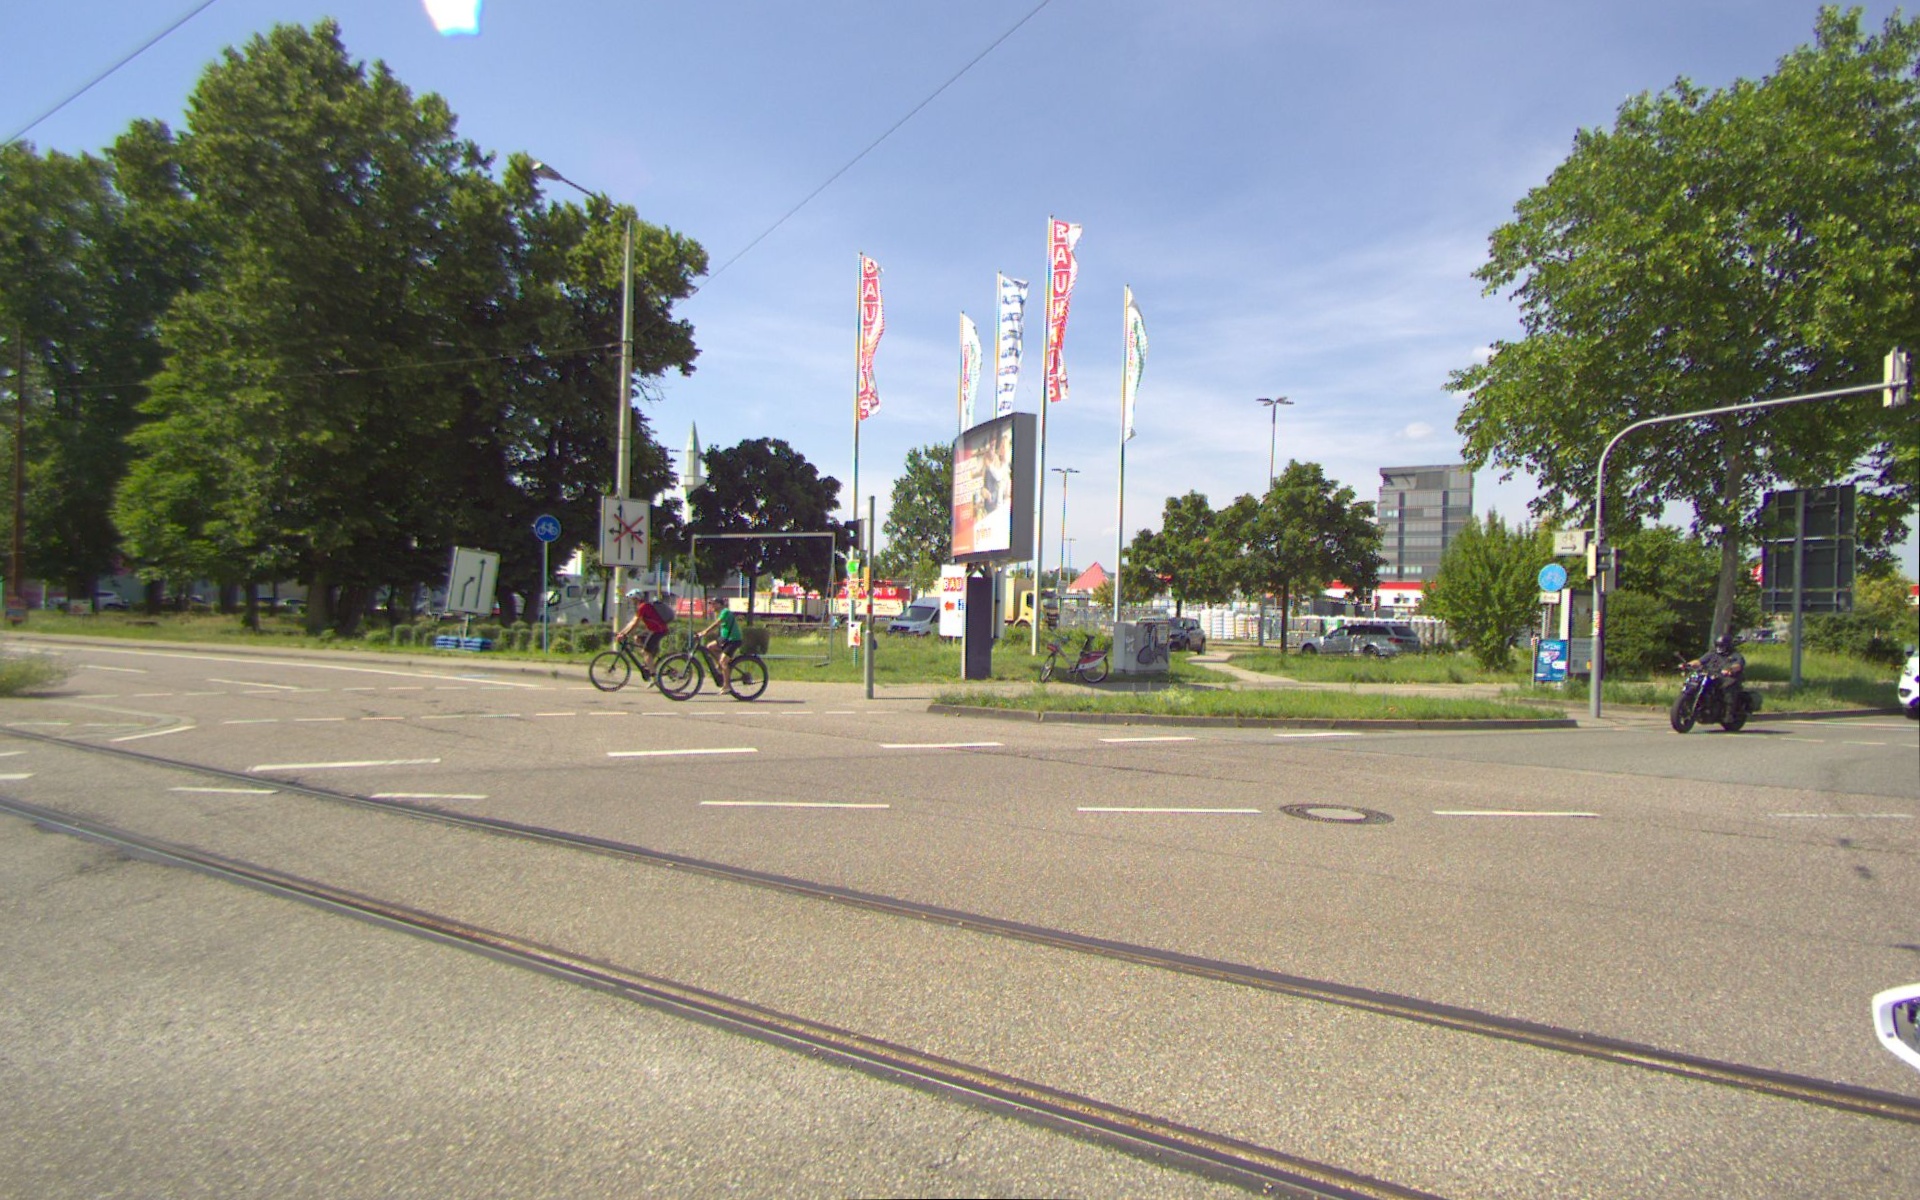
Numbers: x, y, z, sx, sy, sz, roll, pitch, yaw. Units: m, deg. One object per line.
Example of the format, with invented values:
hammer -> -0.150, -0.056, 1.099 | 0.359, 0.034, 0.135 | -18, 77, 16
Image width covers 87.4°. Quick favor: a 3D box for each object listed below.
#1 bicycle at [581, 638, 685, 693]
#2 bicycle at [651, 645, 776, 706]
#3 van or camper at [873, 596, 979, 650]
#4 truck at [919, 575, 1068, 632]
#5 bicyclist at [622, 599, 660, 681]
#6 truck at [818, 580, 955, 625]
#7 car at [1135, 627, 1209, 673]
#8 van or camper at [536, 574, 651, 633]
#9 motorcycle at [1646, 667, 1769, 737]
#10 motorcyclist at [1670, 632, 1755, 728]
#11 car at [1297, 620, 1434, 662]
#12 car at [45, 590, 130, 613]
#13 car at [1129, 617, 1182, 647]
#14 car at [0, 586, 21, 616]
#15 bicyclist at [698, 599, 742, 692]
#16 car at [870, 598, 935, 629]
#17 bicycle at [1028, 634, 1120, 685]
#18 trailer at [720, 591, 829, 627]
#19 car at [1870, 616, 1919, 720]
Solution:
bicycle -> -5.786, 1.159, 17.846 | 1.723, 0.950, 0.433 | 1, 0, -17
bicycle -> -4.080, 1.237, 16.687 | 1.970, 0.950, 0.415 | 1, 0, -26
van or camper -> -1.418, 1.002, 44.857 | 2.157, 2.239, 5.508 | 1, 0, 30
truck -> 2.046, 0.182, 62.686 | 8.759, 3.355, 3.156 | 1, 0, 27
bicyclist -> -5.673, 0.705, 17.881 | 0.599, 1.433, 0.527 | 1, 0, -17
truck -> -5.177, 0.148, 70.161 | 9.438, 2.930, 2.922 | 1, 0, 28
car -> 8.436, 1.916, 39.628 | 2.158, 1.593, 4.576 | 1, 0, 21
van or camper -> -20.744, 0.181, 56.811 | 6.212, 3.142, 2.707 | 1, 0, 30
motorcycle -> 12.159, 1.631, 16.327 | 2.188, 1.004, 0.685 | 1, 0, -27
motorcyclist -> 12.272, 1.284, 16.390 | 0.974, 1.490, 0.740 | 1, 0, -26
car -> 15.690, 1.557, 39.112 | 2.177, 1.433, 4.535 | 1, 0, -33
car -> -64.202, 0.132, 74.011 | 1.842, 1.585, 4.373 | 1, 0, 31
car -> 11.156, 1.793, 57.247 | 1.788, 1.593, 4.274 | 1, 0, 28
car -> -66.388, 0.043, 68.040 | 3.972, 2.040, 1.974 | 1, 0, -43
bicyclist -> -3.993, 0.744, 16.729 | 0.601, 1.511, 0.526 | 1, 0, -25
car -> -4.860, 1.205, 86.667 | 2.346, 2.563, 6.424 | 1, -1, 31
bicycle -> 2.460, 1.278, 21.639 | 1.862, 1.051, 0.595 | 1, 0, -12
trailer -> -13.875, 0.660, 75.001 | 8.063, 2.523, 2.921 | 1, 0, 30
car -> 21.039, 1.365, 20.473 | 4.964, 2.026, 1.970 | 1, 0, -26
